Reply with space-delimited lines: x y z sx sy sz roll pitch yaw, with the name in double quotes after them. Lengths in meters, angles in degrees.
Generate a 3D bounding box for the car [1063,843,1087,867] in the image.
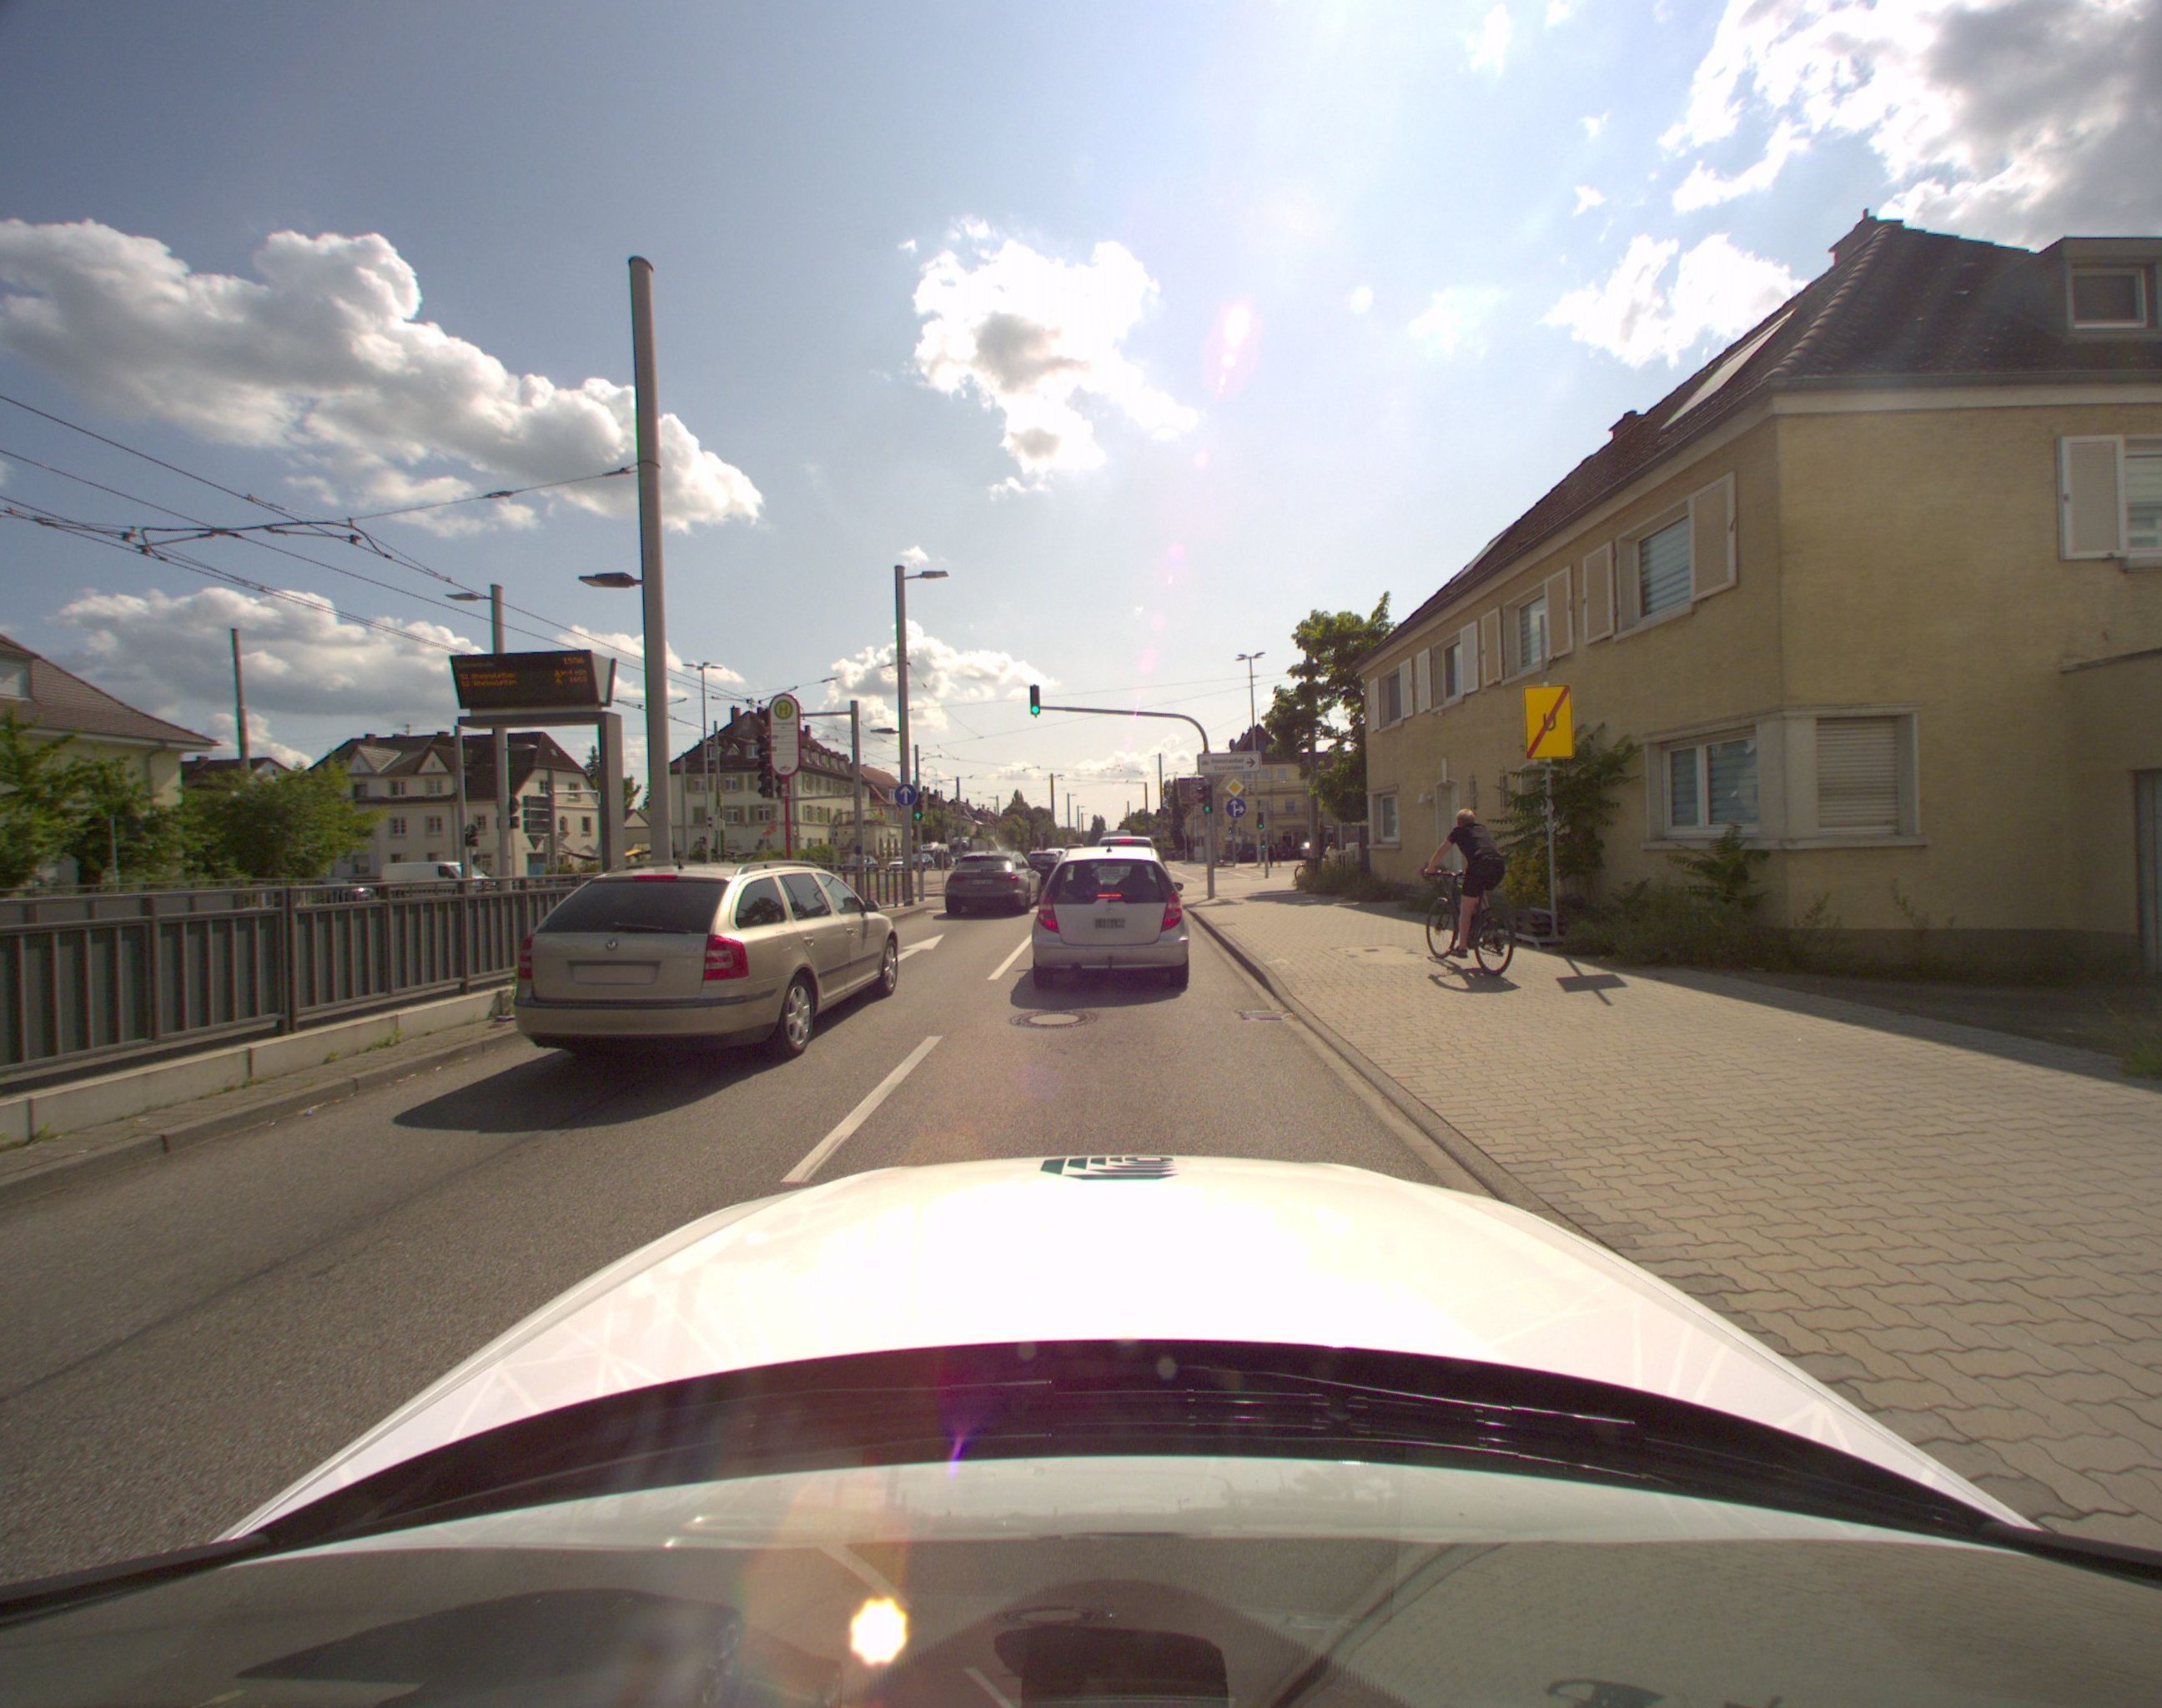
-0.468 0.118 65.096 1.846 1.843 3.918 0 0 1 "car"

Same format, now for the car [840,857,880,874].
-18.019 0.950 66.480 1.676 1.351 4.352 0 0 6 "car"

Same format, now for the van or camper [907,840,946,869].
-16.683 0.064 88.641 2.314 2.929 7.760 -2 0 3 "van or camper"

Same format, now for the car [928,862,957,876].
-13.785 1.458 81.021 1.985 1.351 4.180 0 0 3 "car"

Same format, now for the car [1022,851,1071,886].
-1.401 0.600 34.786 1.846 1.388 4.514 0 0 1 "car"

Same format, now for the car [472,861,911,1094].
-2.886 0.792 7.173 1.724 1.449 4.125 0 0 2 "car"

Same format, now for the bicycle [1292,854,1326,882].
8.343 0.499 29.808 0.457 1.018 1.767 -1 -1 42 "bicycle"

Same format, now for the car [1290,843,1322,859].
19.545 -0.205 70.965 1.860 1.351 4.134 0 0 2 "car"

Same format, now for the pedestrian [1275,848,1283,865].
12.909 0.165 53.140 0.485 1.136 0.389 0 -1 4 "pedestrian"

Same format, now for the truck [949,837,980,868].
-15.432 -0.206 108.438 2.587 3.821 5.675 -4 1 5 "truck"

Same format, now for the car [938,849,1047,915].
-2.059 0.623 20.399 1.908 1.477 4.567 0 0 4 "car"

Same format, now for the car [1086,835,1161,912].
1.007 0.463 20.925 1.724 1.762 4.016 0 0 0 "car"

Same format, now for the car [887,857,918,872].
-17.159 1.014 78.373 1.677 1.351 4.350 0 0 4 "car"

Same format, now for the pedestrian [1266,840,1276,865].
12.352 -0.108 52.965 0.544 1.643 0.402 0 -1 7 "pedestrian"

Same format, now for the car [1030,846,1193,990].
0.329 0.685 10.628 1.724 1.517 4.016 0 0 0 "car"

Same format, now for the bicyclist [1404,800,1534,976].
4.262 0.348 9.033 0.826 1.793 1.083 -3 0 -2 "bicyclist"

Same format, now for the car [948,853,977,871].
-13.232 0.835 91.305 1.984 1.776 4.885 -3 0 5 "car"

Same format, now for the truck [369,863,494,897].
-37.664 1.494 47.288 6.156 1.922 1.692 0 -1 4 "truck"

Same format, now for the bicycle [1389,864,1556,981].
4.279 0.696 9.106 0.826 1.075 1.970 -3 1 -2 "bicycle"

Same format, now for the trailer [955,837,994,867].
-14.891 -0.442 115.292 2.587 3.821 12.853 -4 1 5 "trailer"

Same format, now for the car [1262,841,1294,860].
17.095 -0.266 70.811 1.985 1.596 4.134 0 0 2 "car"

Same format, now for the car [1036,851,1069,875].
-1.715 0.527 50.064 1.846 1.388 3.918 0 0 1 "car"

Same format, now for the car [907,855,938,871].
-13.890 0.804 71.530 1.677 1.351 4.180 0 0 3 "car"

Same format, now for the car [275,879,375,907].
-44.482 2.271 47.962 4.145 1.552 2.002 -1 -1 4 "car"

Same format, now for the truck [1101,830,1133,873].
2.207 -0.153 51.841 1.846 2.552 5.855 0 0 1 "truck"

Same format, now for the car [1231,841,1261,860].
14.272 -0.258 70.669 1.985 1.596 4.134 0 0 2 "car"
